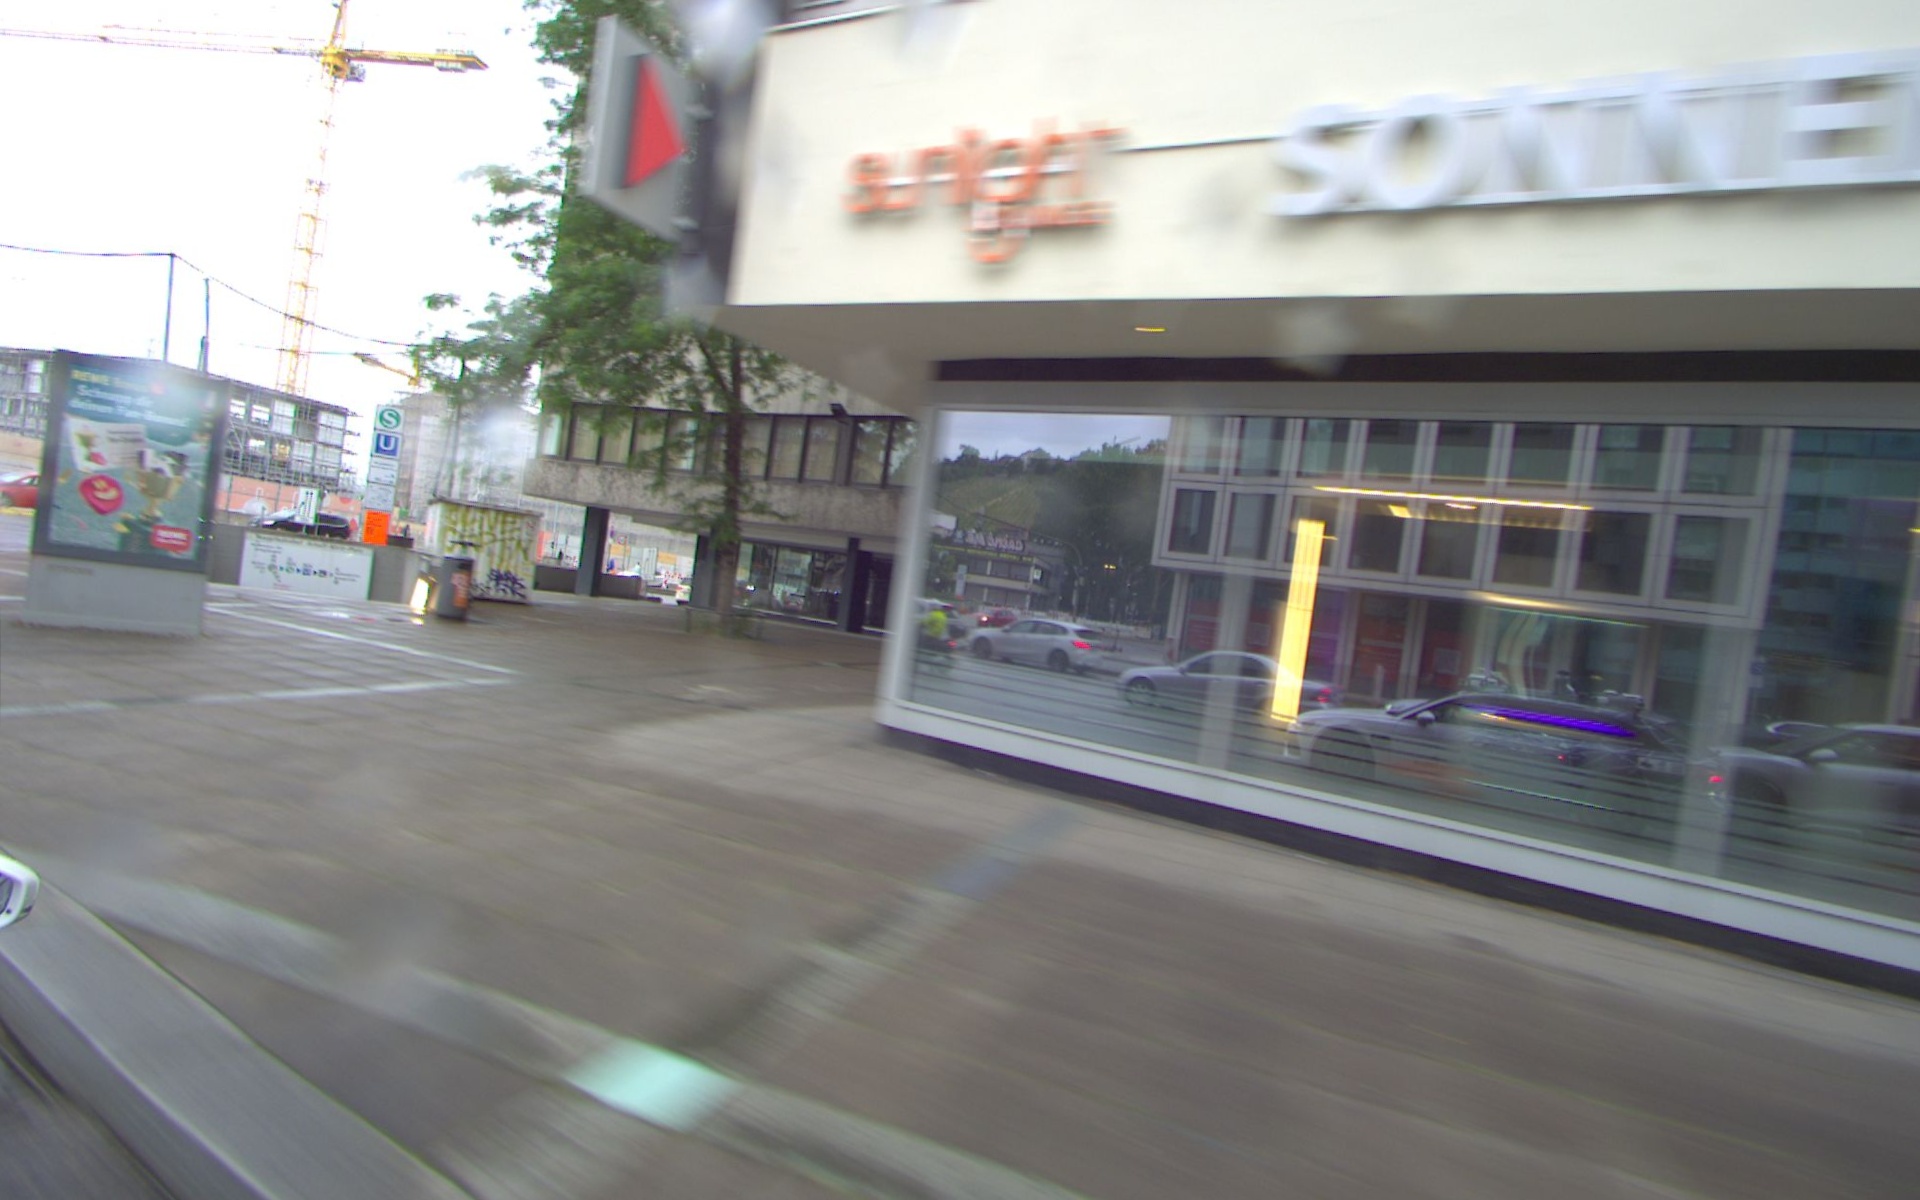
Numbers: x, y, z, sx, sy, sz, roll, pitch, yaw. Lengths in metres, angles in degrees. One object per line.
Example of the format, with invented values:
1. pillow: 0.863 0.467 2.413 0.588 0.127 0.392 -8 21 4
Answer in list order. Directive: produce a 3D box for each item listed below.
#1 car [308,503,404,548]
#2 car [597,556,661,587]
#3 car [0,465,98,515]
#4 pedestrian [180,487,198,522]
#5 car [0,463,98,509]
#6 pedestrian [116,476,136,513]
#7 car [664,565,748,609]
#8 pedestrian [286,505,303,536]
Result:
1. car: -33.351 -4.065 55.646 1.964 1.754 4.000 7 -2 24
2. car: -23.099 -1.998 70.372 1.963 1.570 4.055 7 -2 21
3. car: -34.361 -4.113 37.035 1.635 1.319 3.547 7 -2 22
4. pedestrian: -44.775 -5.568 58.428 0.356 1.920 0.576 7 0 29
5. car: -43.393 -5.378 47.624 1.759 1.490 3.549 7 -2 37
6. pedestrian: -46.504 -5.890 56.104 0.356 1.920 0.576 7 0 29
7. car: -12.820 -0.643 51.044 1.964 1.659 4.001 7 -2 23
8. pedestrian: -42.754 -5.107 64.642 0.356 1.920 0.576 7 0 27
